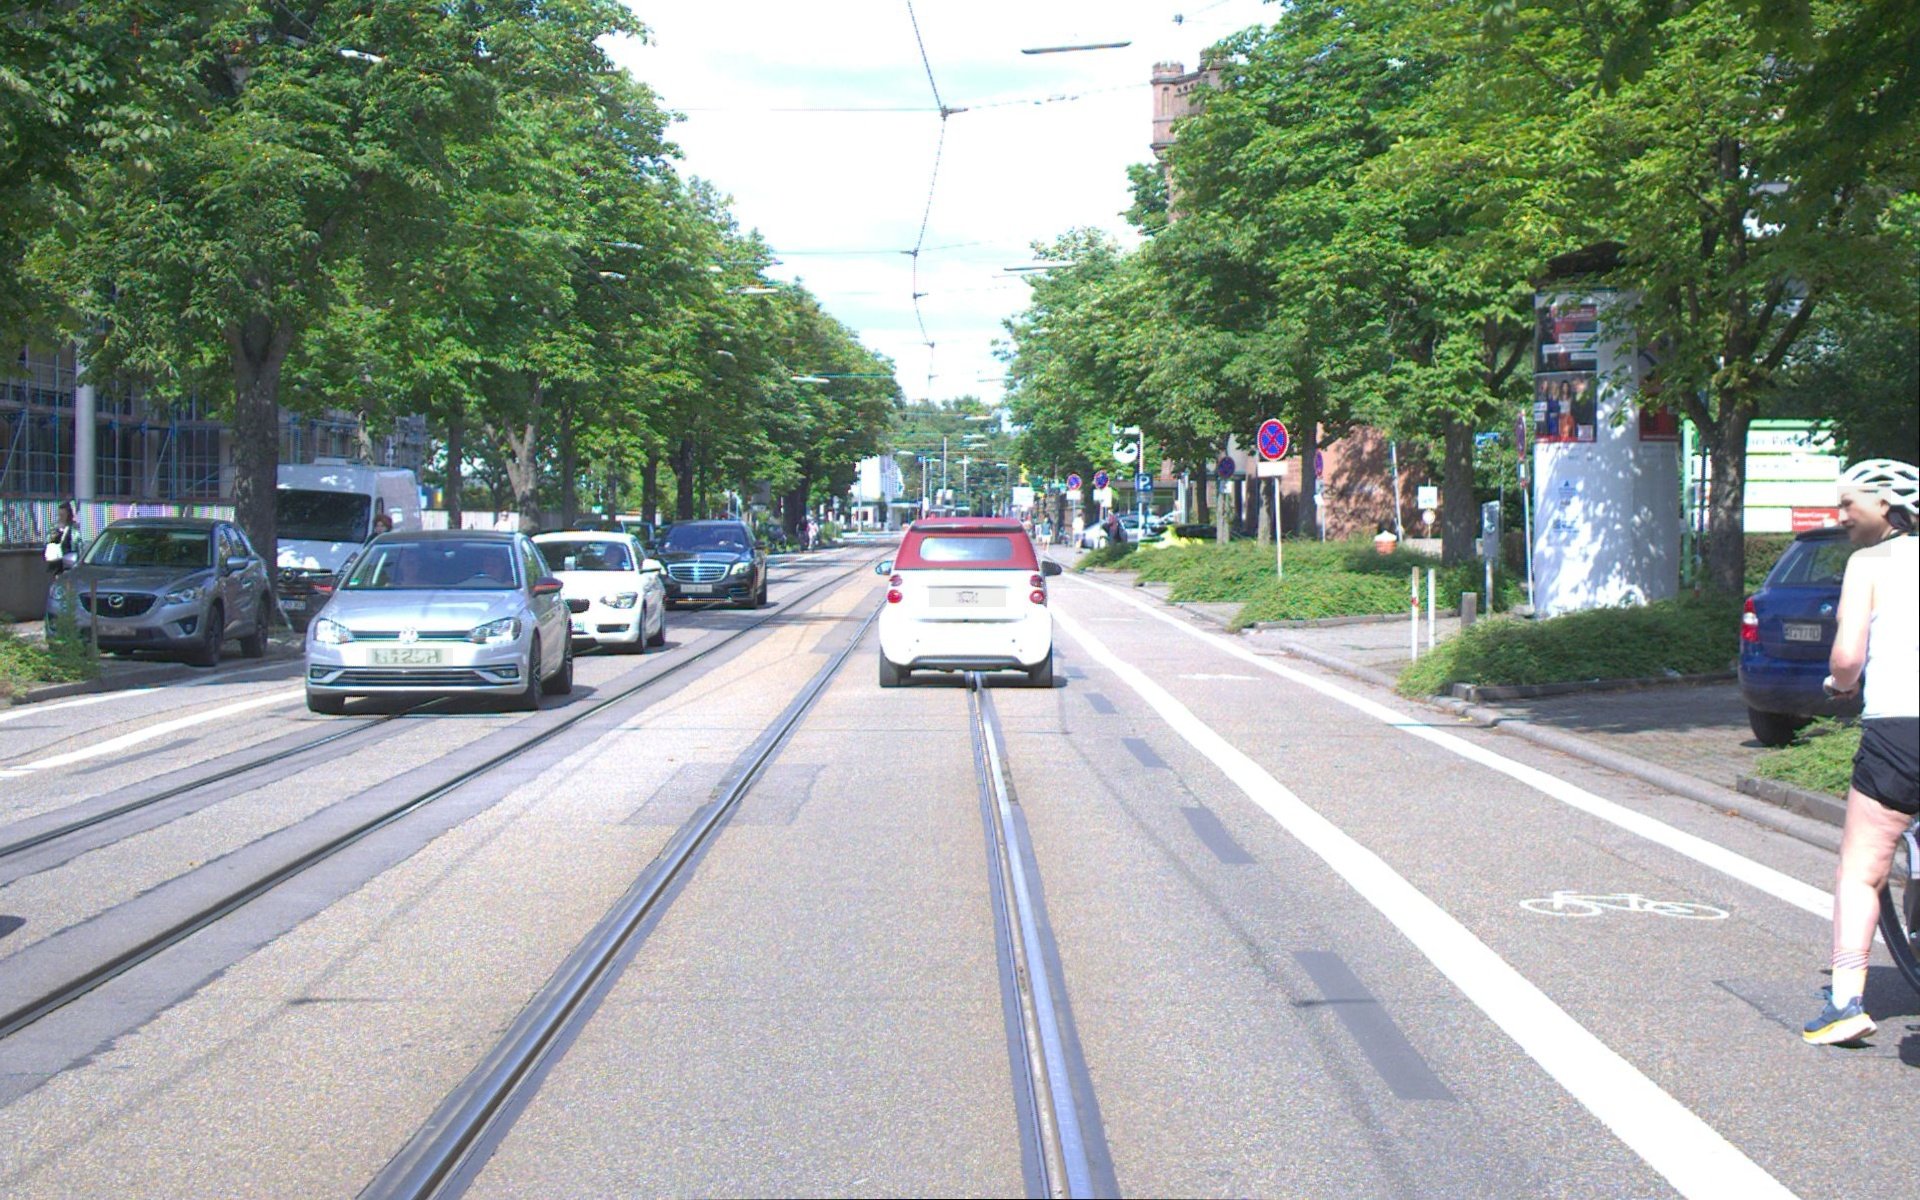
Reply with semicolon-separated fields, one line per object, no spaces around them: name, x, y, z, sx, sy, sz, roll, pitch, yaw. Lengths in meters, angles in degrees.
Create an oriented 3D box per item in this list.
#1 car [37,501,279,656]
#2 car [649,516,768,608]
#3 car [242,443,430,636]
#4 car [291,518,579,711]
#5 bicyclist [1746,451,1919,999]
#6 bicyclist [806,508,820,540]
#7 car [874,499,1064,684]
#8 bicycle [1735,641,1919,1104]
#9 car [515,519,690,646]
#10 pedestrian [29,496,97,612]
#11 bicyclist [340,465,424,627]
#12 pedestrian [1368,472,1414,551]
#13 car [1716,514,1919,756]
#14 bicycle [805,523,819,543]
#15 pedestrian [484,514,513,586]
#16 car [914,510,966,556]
car;-9.179;-0.277;39.644;1.804;1.656;4.103;2;1;0
car;-4.335;-0.678;59.683;1.800;1.503;4.537;1;1;-1
car;-9.062;-0.892;50.307;1.769;2.630;5.323;2;1;-1
car;-4.182;0.072;27.926;1.773;1.411;3.852;-2;1;-1
bicyclist;2.862;0.349;10.132;0.890;1.523;1.085;2;1;6
bicyclist;-7.322;-3.761;171.282;0.658;1.574;0.946;1;1;-2
car;0.035;-0.128;32.232;1.665;1.619;3.621;0;2;-1
bicycle;2.854;0.734;10.016;0.875;1.122;2.136;2;2;6
car;-4.132;-0.239;40.272;1.686;1.400;4.227;0;1;-1
pedestrian;-12.689;-0.653;48.643;0.764;1.614;0.594;2;1;0
bicyclist;-7.328;-0.680;43.639;0.876;2.007;0.834;-2;0;-1
pedestrian;11.167;-2.282;89.022;0.977;2.007;1.093;2;1;-1
car;6.889;0.162;23.187;1.615;1.481;3.990;0;2;44
bicycle;-7.364;-3.334;171.343;0.618;0.970;1.717;0;1;-1
pedestrian;-12.856;-1.399;95.791;0.802;2.007;0.485;0;1;-9
car;-0.675;-2.216;112.816;1.665;1.487;3.621;1;1;-1
